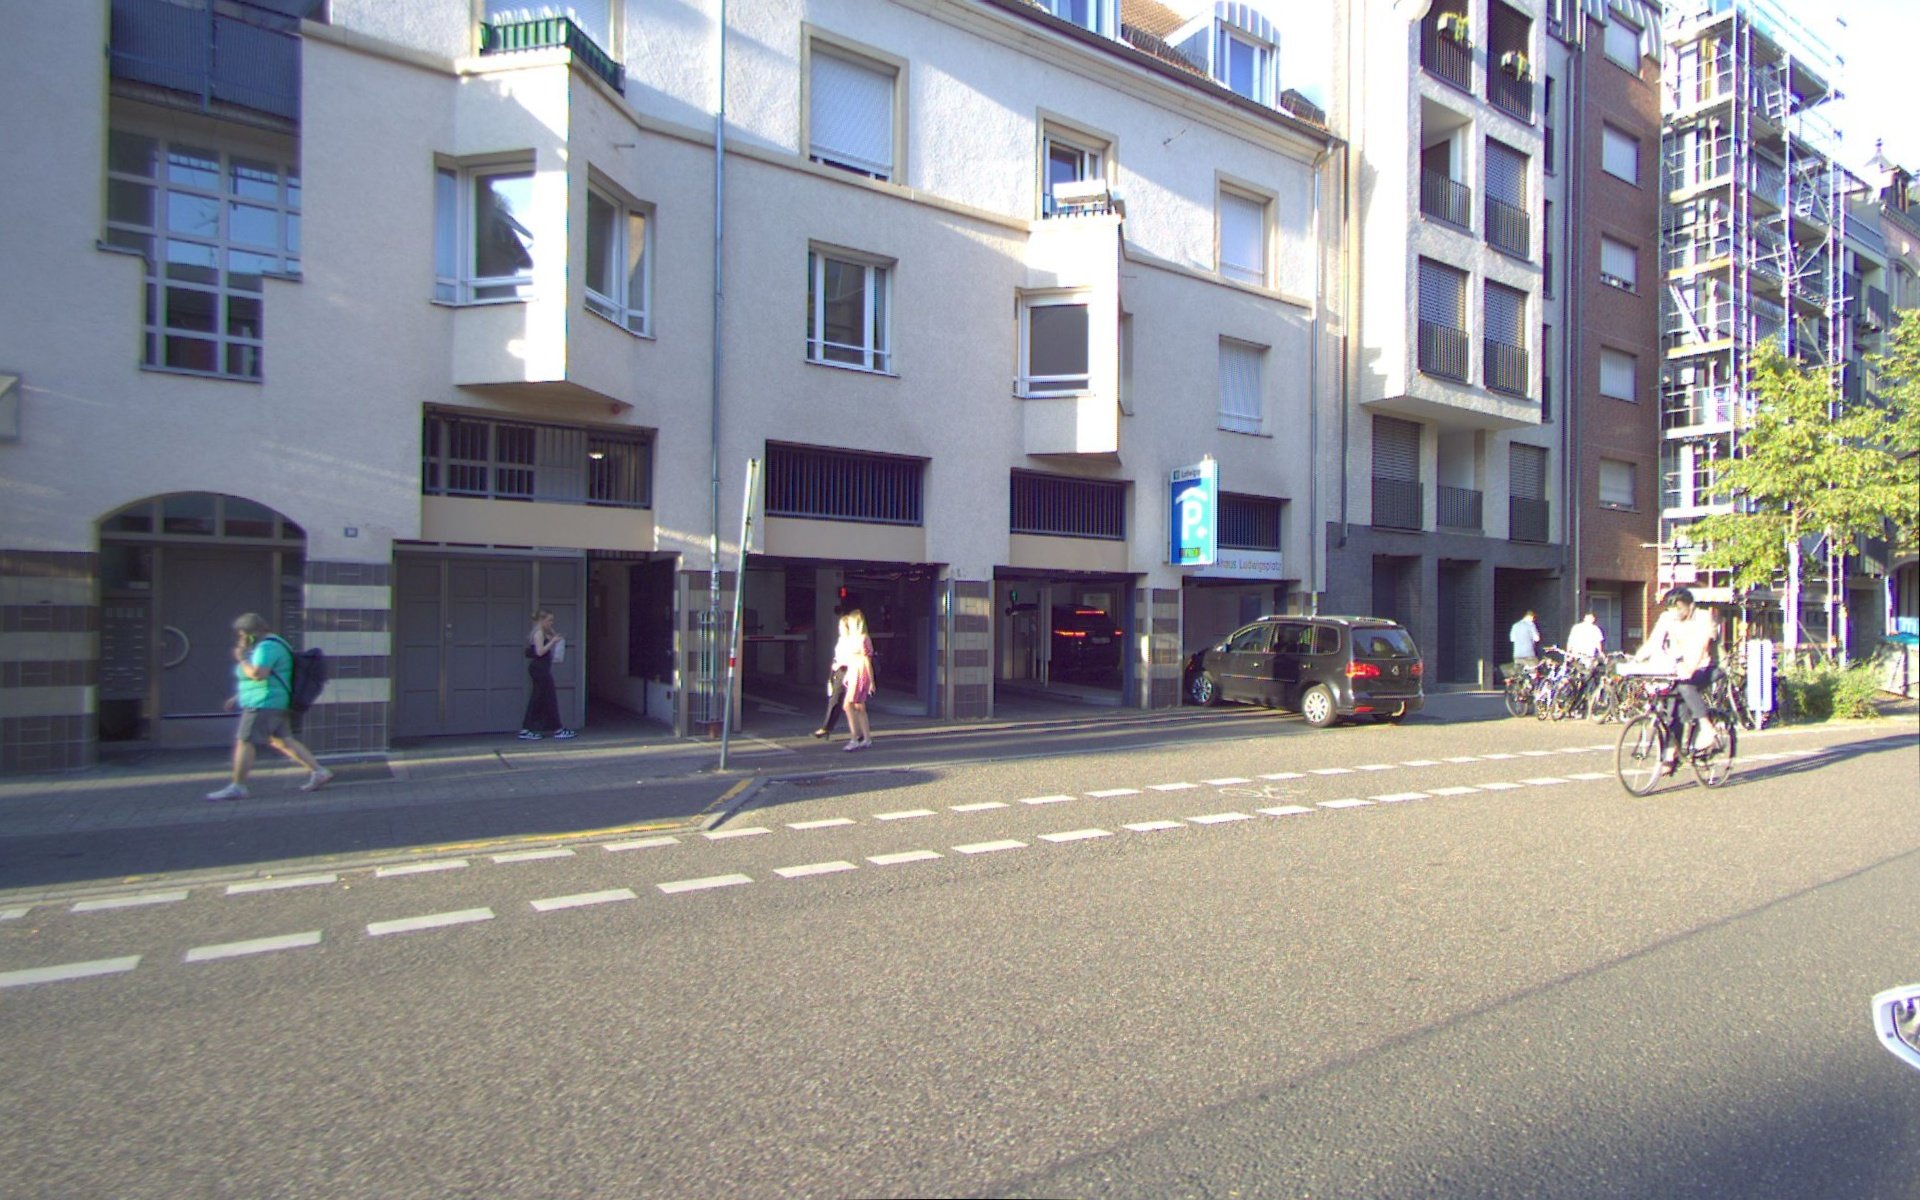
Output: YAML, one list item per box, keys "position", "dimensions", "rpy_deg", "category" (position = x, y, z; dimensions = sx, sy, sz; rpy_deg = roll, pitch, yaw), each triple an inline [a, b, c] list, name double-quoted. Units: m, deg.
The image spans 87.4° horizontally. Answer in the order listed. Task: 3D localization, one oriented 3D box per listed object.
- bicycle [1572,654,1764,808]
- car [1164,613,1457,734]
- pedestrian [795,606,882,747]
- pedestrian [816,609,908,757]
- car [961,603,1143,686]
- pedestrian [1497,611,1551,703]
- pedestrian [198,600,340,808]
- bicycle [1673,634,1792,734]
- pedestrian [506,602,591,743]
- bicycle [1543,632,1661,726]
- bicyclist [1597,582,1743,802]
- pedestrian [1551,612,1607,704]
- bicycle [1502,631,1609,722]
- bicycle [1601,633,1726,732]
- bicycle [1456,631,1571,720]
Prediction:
- position: [6.389, 1.107, 9.034]
  dimensions: [2.000, 1.220, 0.776]
  rpy_deg: [2, -2, -35]
  category: "bicycle"
- position: [5.638, 1.098, 16.779]
  dimensions: [1.975, 1.623, 4.477]
  rpy_deg: [2, 0, -27]
  category: "car"
- position: [-1.518, 0.927, 12.475]
  dimensions: [0.844, 1.663, 0.714]
  rpy_deg: [2, 0, -28]
  category: "pedestrian"
- position: [-1.161, 0.952, 11.838]
  dimensions: [0.844, 1.663, 0.714]
  rpy_deg: [2, 0, -28]
  category: "pedestrian"
- position: [1.964, 0.941, 22.941]
  dimensions: [1.976, 1.623, 4.475]
  rpy_deg: [2, 0, -29]
  category: "car"
- position: [11.293, 1.121, 20.116]
  dimensions: [0.688, 1.790, 0.710]
  rpy_deg: [2, 0, -40]
  category: "pedestrian"
- position: [-5.929, 0.848, 8.650]
  dimensions: [0.942, 1.663, 0.712]
  rpy_deg: [2, 0, -35]
  category: "pedestrian"
- position: [11.769, 1.215, 15.248]
  dimensions: [3.162, 1.368, 0.837]
  rpy_deg: [2, -1, -41]
  category: "bicycle"
- position: [-5.034, 0.856, 12.263]
  dimensions: [0.845, 1.637, 0.713]
  rpy_deg: [2, 0, -30]
  category: "pedestrian"
- position: [10.645, 1.245, 16.582]
  dimensions: [3.118, 1.391, 0.774]
  rpy_deg: [2, 0, -41]
  category: "bicycle"
- position: [6.423, 0.798, 9.091]
  dimensions: [0.997, 1.853, 0.776]
  rpy_deg: [2, -2, -34]
  category: "bicyclist"
- position: [12.320, 1.143, 19.995]
  dimensions: [0.732, 1.763, 0.710]
  rpy_deg: [2, 0, -40]
  category: "pedestrian"
- position: [10.188, 1.249, 17.108]
  dimensions: [3.136, 1.414, 0.579]
  rpy_deg: [2, 0, -41]
  category: "bicycle"
- position: [11.197, 1.244, 15.933]
  dimensions: [3.141, 1.414, 0.885]
  rpy_deg: [2, -1, -41]
  category: "bicycle"
- position: [9.753, 1.279, 17.621]
  dimensions: [3.128, 1.414, 0.715]
  rpy_deg: [2, 0, -41]
  category: "bicycle"
